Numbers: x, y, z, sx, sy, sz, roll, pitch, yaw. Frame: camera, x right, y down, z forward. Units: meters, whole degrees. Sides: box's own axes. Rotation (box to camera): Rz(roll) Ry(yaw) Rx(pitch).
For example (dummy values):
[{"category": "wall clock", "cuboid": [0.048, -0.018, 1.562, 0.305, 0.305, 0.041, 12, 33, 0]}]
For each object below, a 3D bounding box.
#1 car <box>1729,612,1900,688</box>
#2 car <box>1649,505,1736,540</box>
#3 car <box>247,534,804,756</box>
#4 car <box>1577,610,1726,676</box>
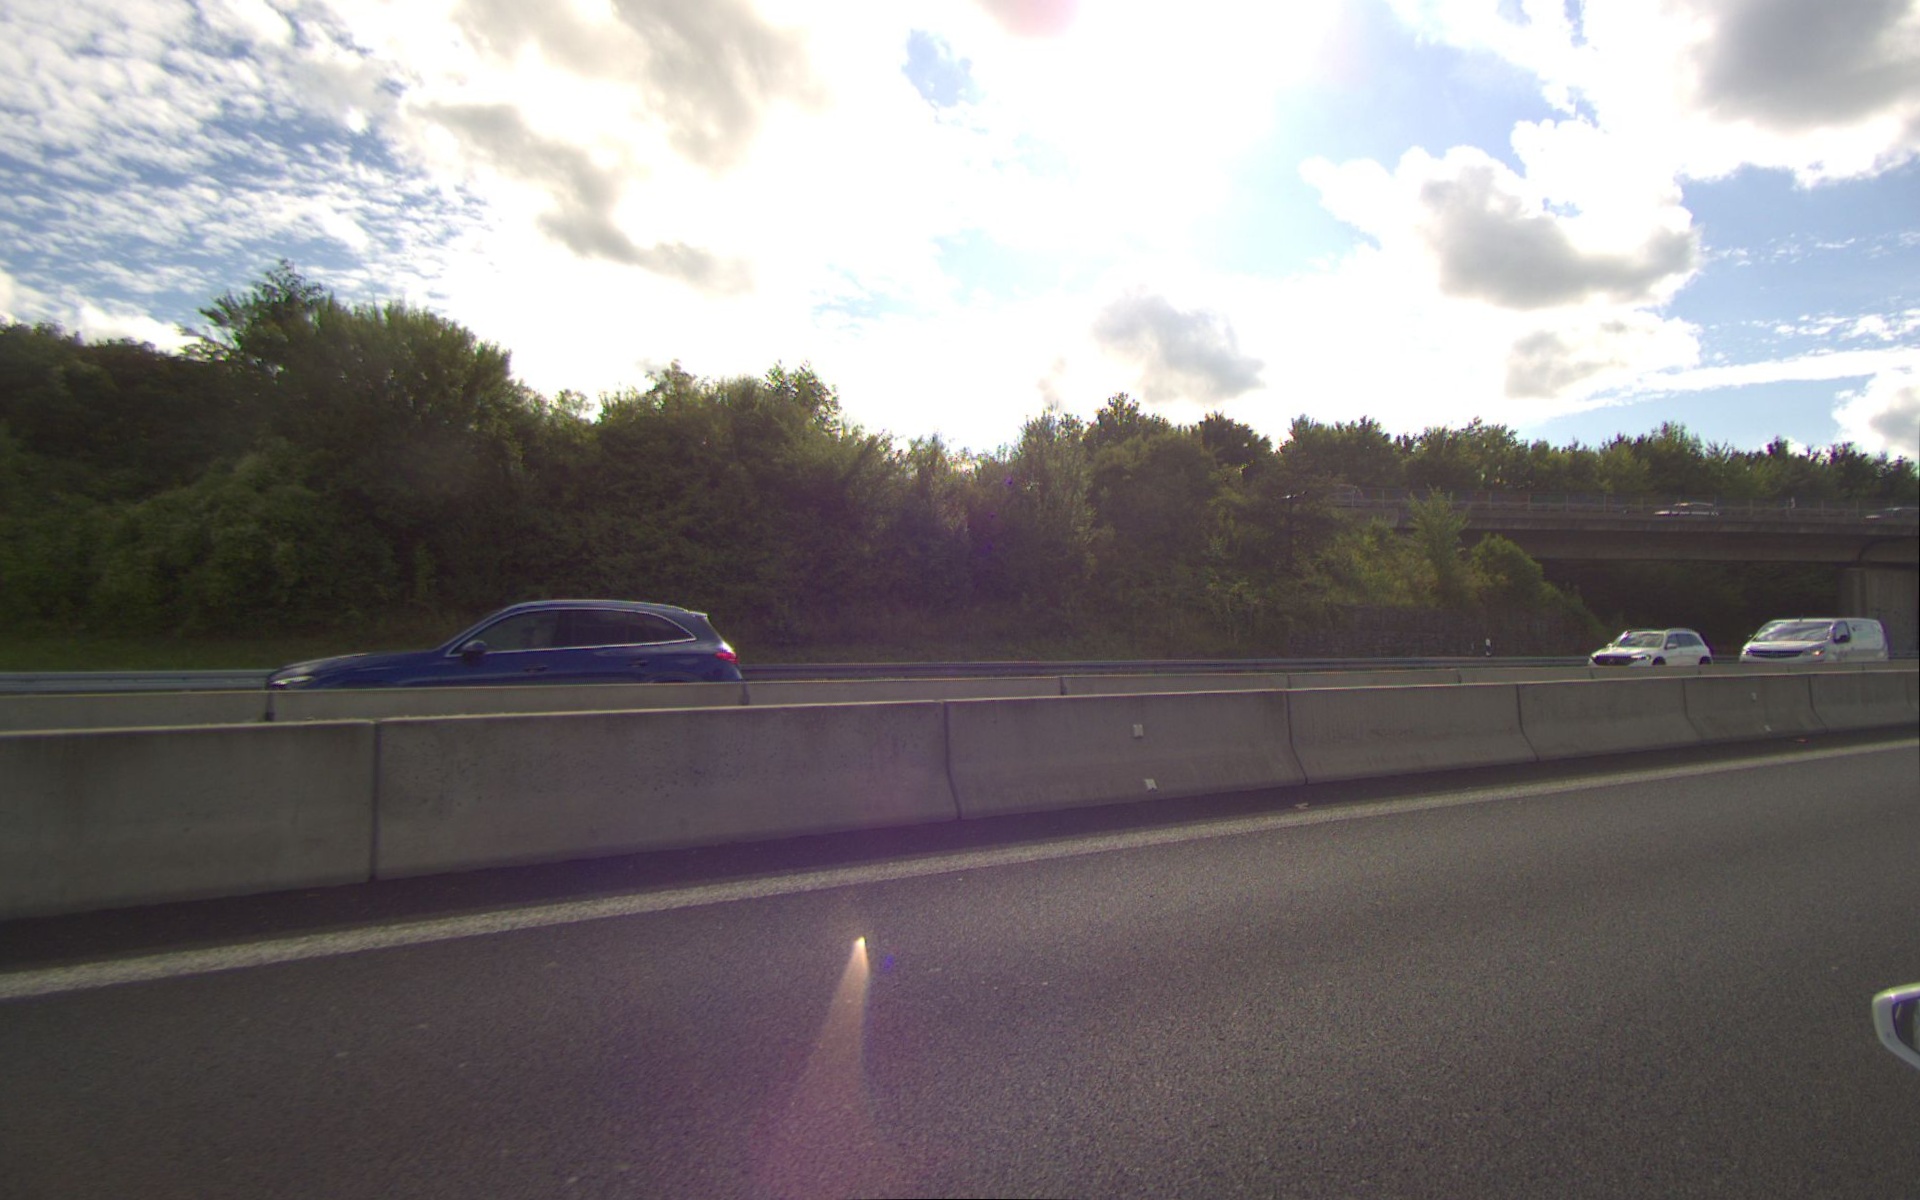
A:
[{"category": "car", "cuboid": [23.322, 1.350, 27.371, 5.128, 1.921, 1.984, 2, -2, -30]}, {"category": "car", "cuboid": [48.246, -5.102, 66.207, 4.738, 1.921, 1.996, 1, -2, -12]}, {"category": "car", "cuboid": [-4.436, 0.480, 10.839, 5.080, 1.921, 1.984, 2, -2, -30]}, {"category": "car", "cuboid": [21.594, 1.330, 31.331, 4.766, 1.921, 1.984, 2, -2, -30]}]
